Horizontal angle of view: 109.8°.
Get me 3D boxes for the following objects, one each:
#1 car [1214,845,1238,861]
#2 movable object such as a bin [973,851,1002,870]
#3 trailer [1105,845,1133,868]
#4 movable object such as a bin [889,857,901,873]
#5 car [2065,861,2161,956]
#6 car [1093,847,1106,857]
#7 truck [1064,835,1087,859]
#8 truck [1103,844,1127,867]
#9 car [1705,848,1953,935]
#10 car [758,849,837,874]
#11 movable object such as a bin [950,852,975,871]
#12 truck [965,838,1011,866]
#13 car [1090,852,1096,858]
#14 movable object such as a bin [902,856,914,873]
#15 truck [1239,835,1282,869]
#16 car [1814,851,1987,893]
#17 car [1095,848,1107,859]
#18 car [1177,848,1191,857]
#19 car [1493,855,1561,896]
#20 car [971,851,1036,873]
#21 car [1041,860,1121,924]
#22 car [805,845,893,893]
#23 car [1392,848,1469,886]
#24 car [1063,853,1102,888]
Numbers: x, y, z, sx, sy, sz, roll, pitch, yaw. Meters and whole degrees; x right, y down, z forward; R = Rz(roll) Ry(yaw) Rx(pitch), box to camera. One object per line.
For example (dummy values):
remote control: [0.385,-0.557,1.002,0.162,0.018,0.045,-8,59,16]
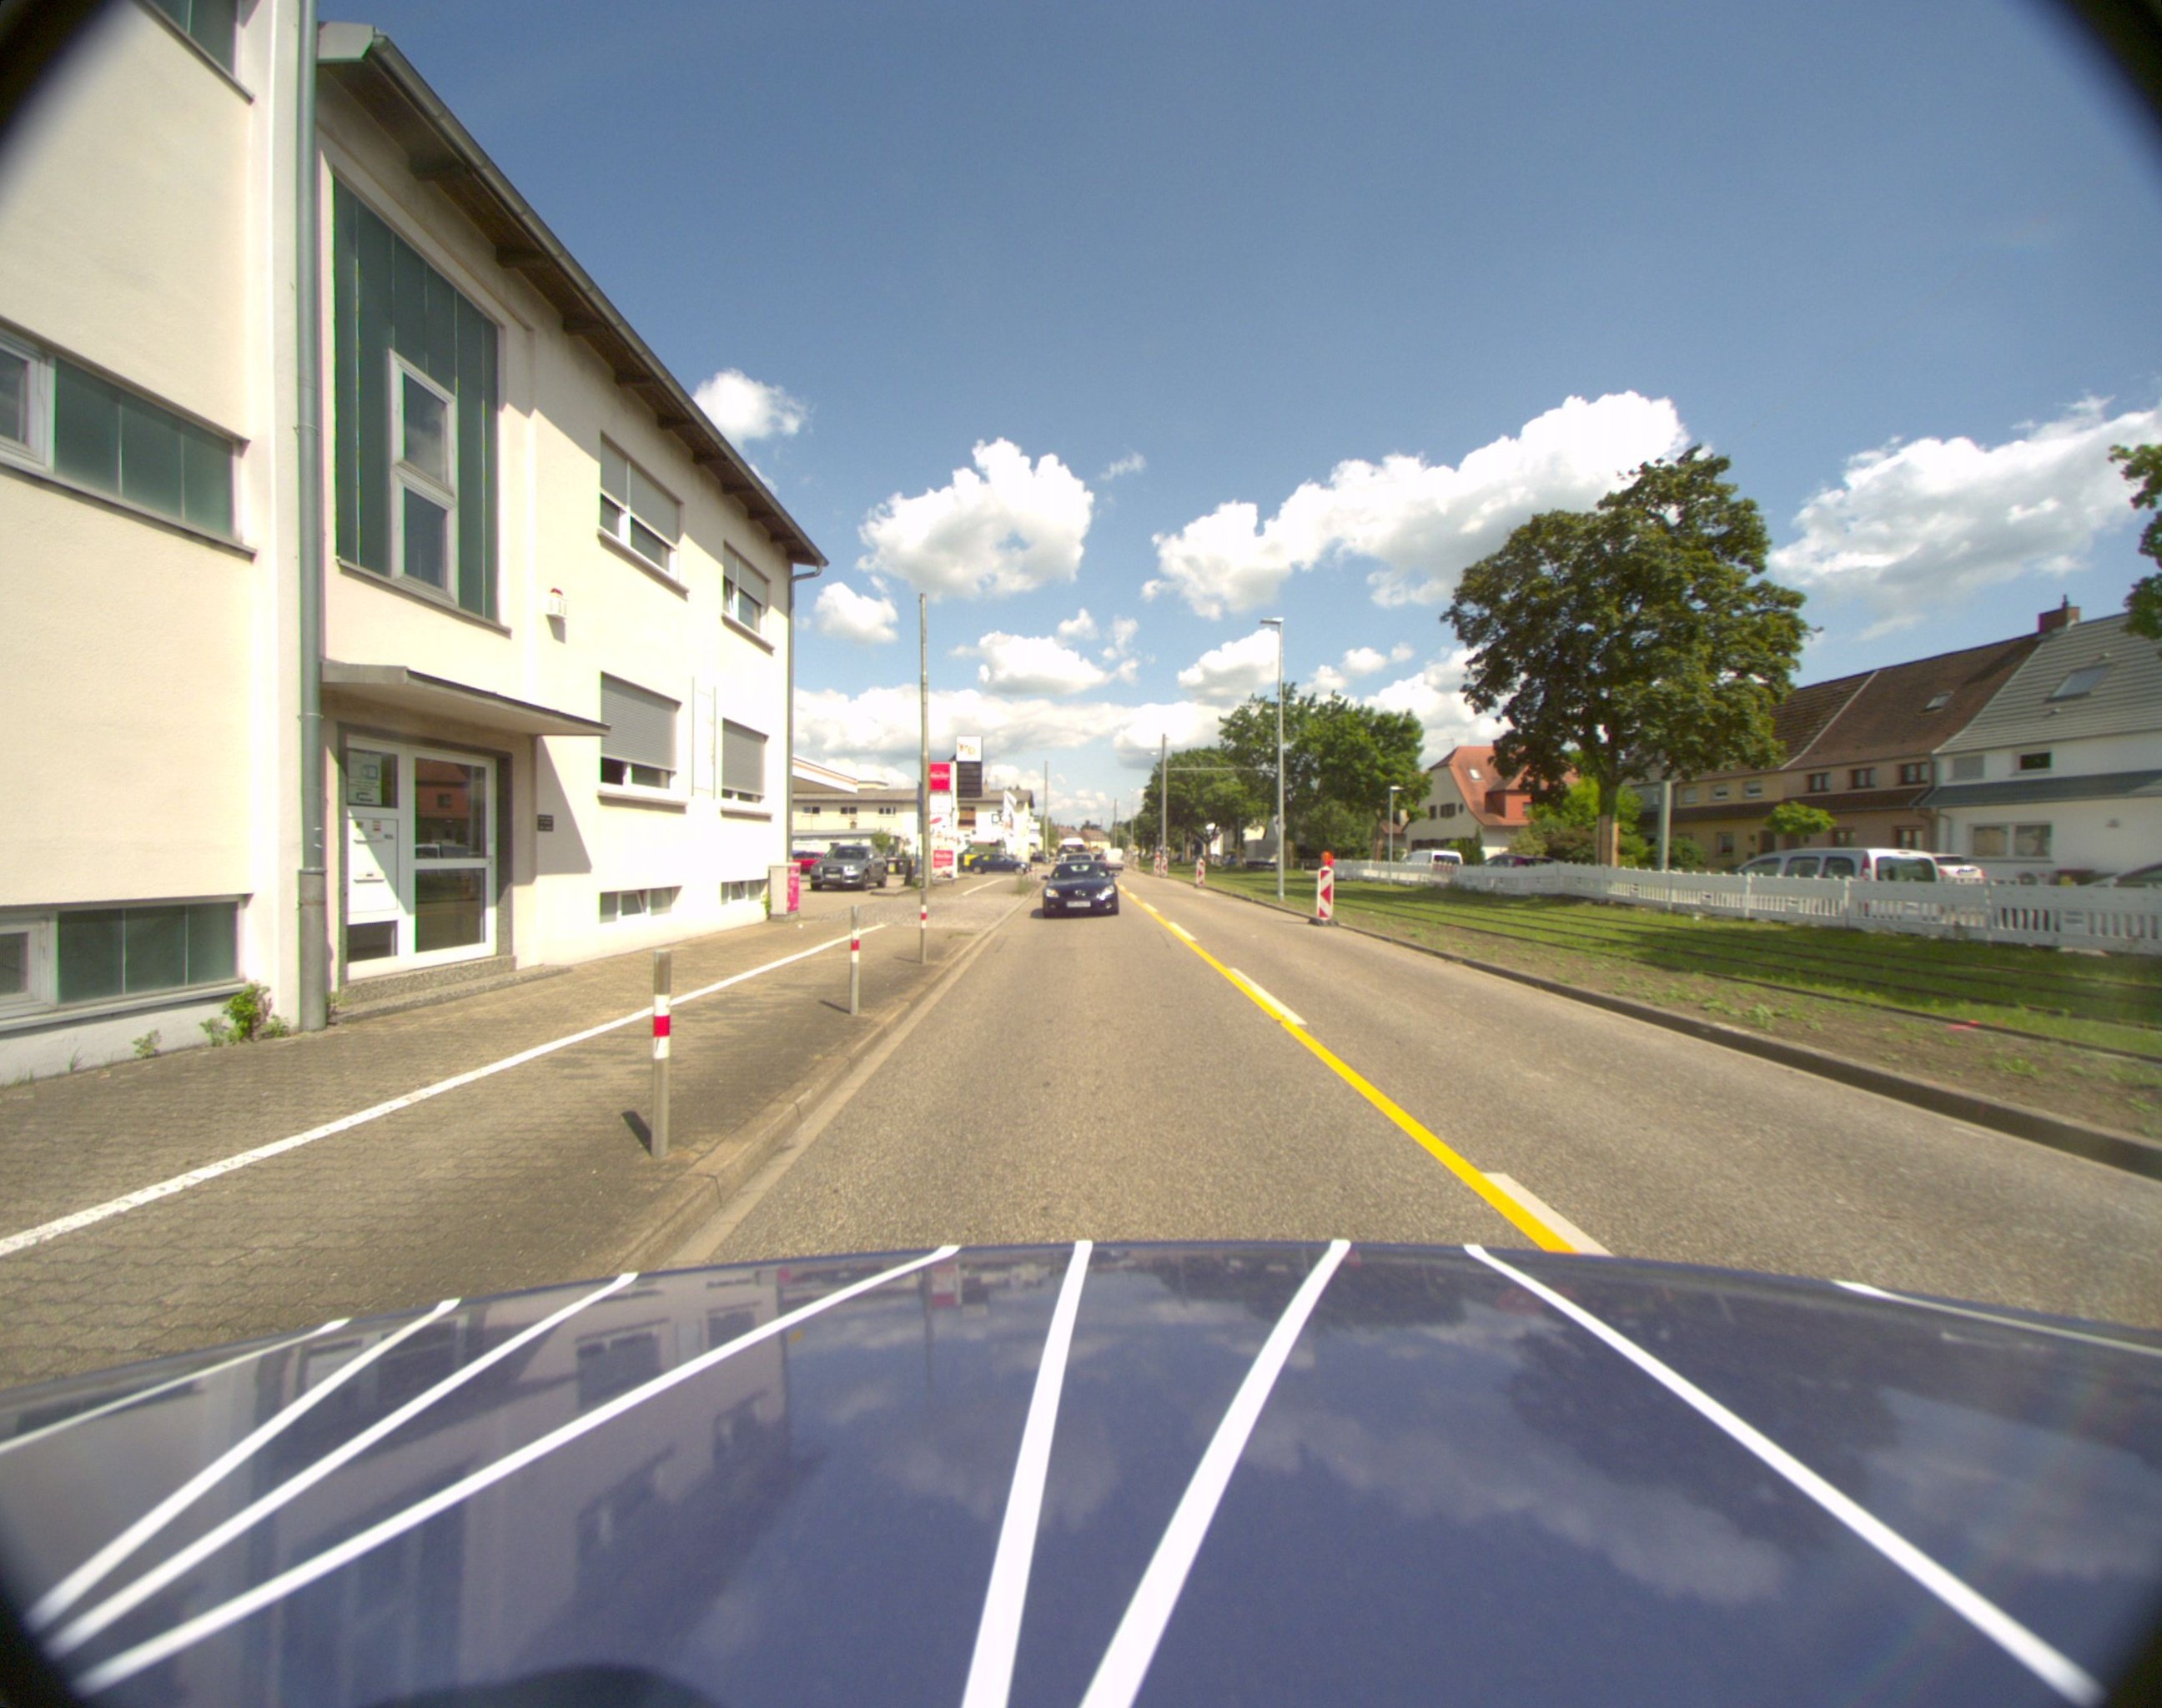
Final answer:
car: [14.921,-0.112,78.383,1.672,1.504,3.930,-2,1,0]
movable object such as a bin: [-7.116,0.477,57.769,1.968,1.339,1.708,-2,1,-1]
trailer: [3.302,0.205,66.518,2.067,1.825,5.484,2,1,0]
movable object such as a bin: [-11.834,0.705,48.322,0.582,1.004,0.706,-2,1,-1]
car: [16.371,0.809,10.547,1.353,1.369,3.114,1,0,0]
car: [2.719,-0.262,113.947,1.697,1.404,3.858,2,1,-1]
truck: [-0.586,-0.896,94.026,2.632,2.872,7.922,-2,1,1]
truck: [3.123,0.091,70.626,1.825,1.899,5.114,2,1,-1]
car: [16.344,0.733,16.927,1.627,1.642,3.898,1,1,0]
car: [-17.222,0.446,46.230,4.145,1.416,1.771,1,1,1]
movable object such as a bin: [-8.978,0.563,57.640,1.536,1.402,1.765,-2,1,-1]
truck: [-9.124,-0.235,74.592,4.181,2.645,2.108,-2,1,1]
car: [2.955,0.201,187.143,1.582,1.461,3.719,2,1,0]
movable object such as a bin: [-11.033,0.676,48.380,0.582,1.004,0.706,-2,1,-1]
truck: [16.019,-0.228,68.006,2.371,2.789,5.950,-2,1,0]
car: [28.487,0.584,26.627,1.538,1.268,4.119,1,1,0]
car: [3.354,-0.119,129.425,1.829,1.656,4.461,1,1,0]
car: [15.967,-0.198,117.961,1.637,1.294,3.999,-2,1,0]
car: [15.974,0.753,27.330,1.075,1.340,2.449,1,1,4]
car: [-5.176,0.528,51.047,4.061,1.400,1.647,0,2,6]
car: [0.005,0.857,18.872,1.732,1.259,3.999,-2,1,0]
car: [-8.409,0.493,27.964,1.951,1.616,4.614,1,1,-2]
car: [16.110,0.555,35.244,1.657,1.616,4.000,1,1,0]
car: [0.060,0.696,34.231,1.594,1.418,3.706,-2,1,0]
